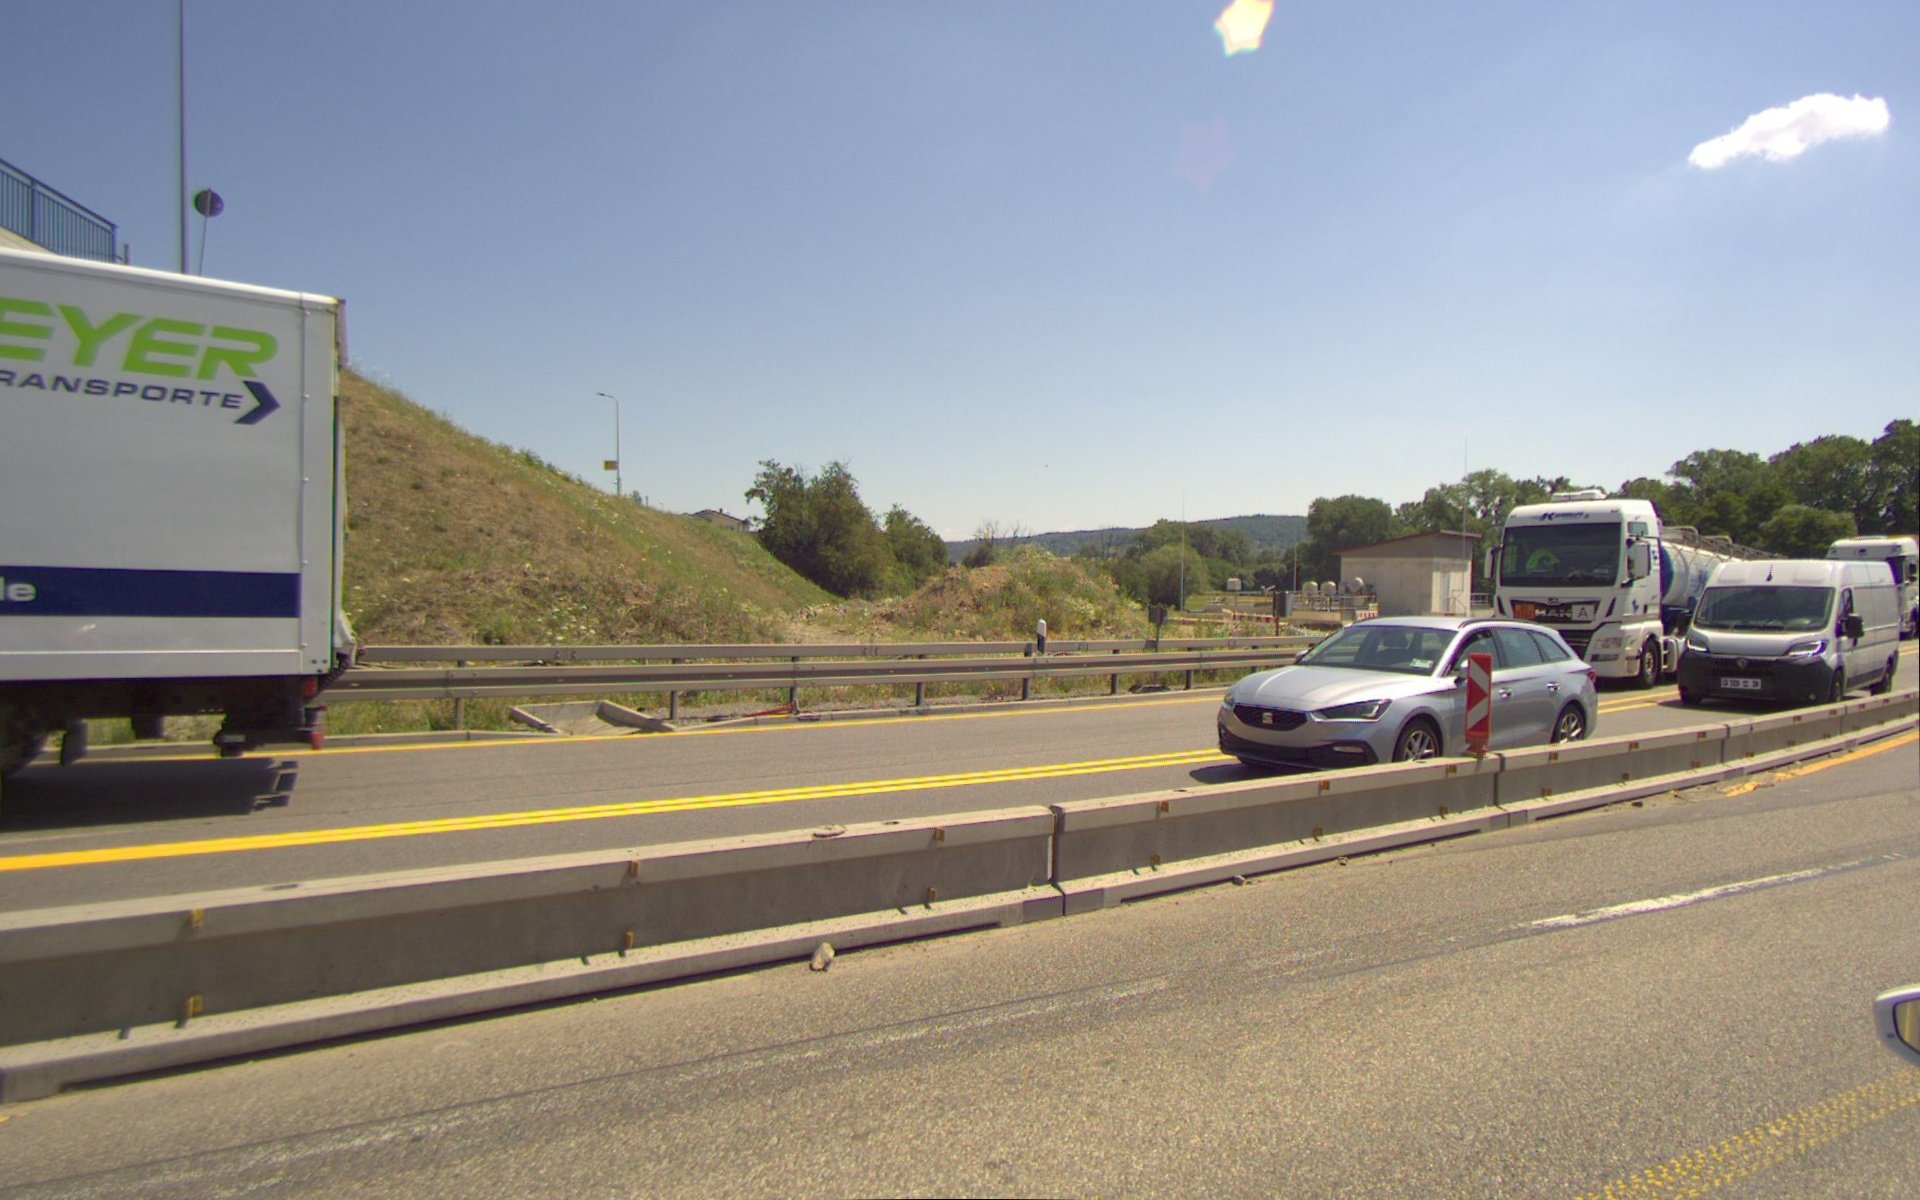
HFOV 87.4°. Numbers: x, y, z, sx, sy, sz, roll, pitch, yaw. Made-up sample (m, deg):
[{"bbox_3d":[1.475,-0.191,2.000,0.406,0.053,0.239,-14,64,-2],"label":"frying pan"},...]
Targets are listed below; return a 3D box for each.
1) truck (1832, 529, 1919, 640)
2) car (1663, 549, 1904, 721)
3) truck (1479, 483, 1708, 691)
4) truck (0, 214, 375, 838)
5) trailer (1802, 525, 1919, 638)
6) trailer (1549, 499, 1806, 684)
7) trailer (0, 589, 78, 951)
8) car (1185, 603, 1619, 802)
[{"bbox_3d":[43.860,-0.620,45.374,15.212,4.401,2.790,0,1,-34],"label":"truck"},{"bbox_3d":[14.666,0.602,17.699,6.430,2.536,2.054,2,0,-40],"label":"car"},{"bbox_3d":[13.390,-0.235,21.152,4.907,3.873,2.513,1,1,-39],"label":"truck"},{"bbox_3d":[-8.289,-0.501,5.780,8.404,3.623,2.801,1,0,-32],"label":"truck"},{"bbox_3d":[36.944,-0.689,40.718,5.162,4.286,2.849,0,1,-33],"label":"trailer"},{"bbox_3d":[18.162,-0.135,25.037,10.157,3.840,2.505,1,1,-39],"label":"trailer"},{"bbox_3d":[-5.694,0.627,3.275,3.955,1.450,1.655,2,0,-32],"label":"trailer"},{"bbox_3d":[4.402,0.848,9.726,4.480,1.483,1.832,2,0,-36],"label":"car"}]
